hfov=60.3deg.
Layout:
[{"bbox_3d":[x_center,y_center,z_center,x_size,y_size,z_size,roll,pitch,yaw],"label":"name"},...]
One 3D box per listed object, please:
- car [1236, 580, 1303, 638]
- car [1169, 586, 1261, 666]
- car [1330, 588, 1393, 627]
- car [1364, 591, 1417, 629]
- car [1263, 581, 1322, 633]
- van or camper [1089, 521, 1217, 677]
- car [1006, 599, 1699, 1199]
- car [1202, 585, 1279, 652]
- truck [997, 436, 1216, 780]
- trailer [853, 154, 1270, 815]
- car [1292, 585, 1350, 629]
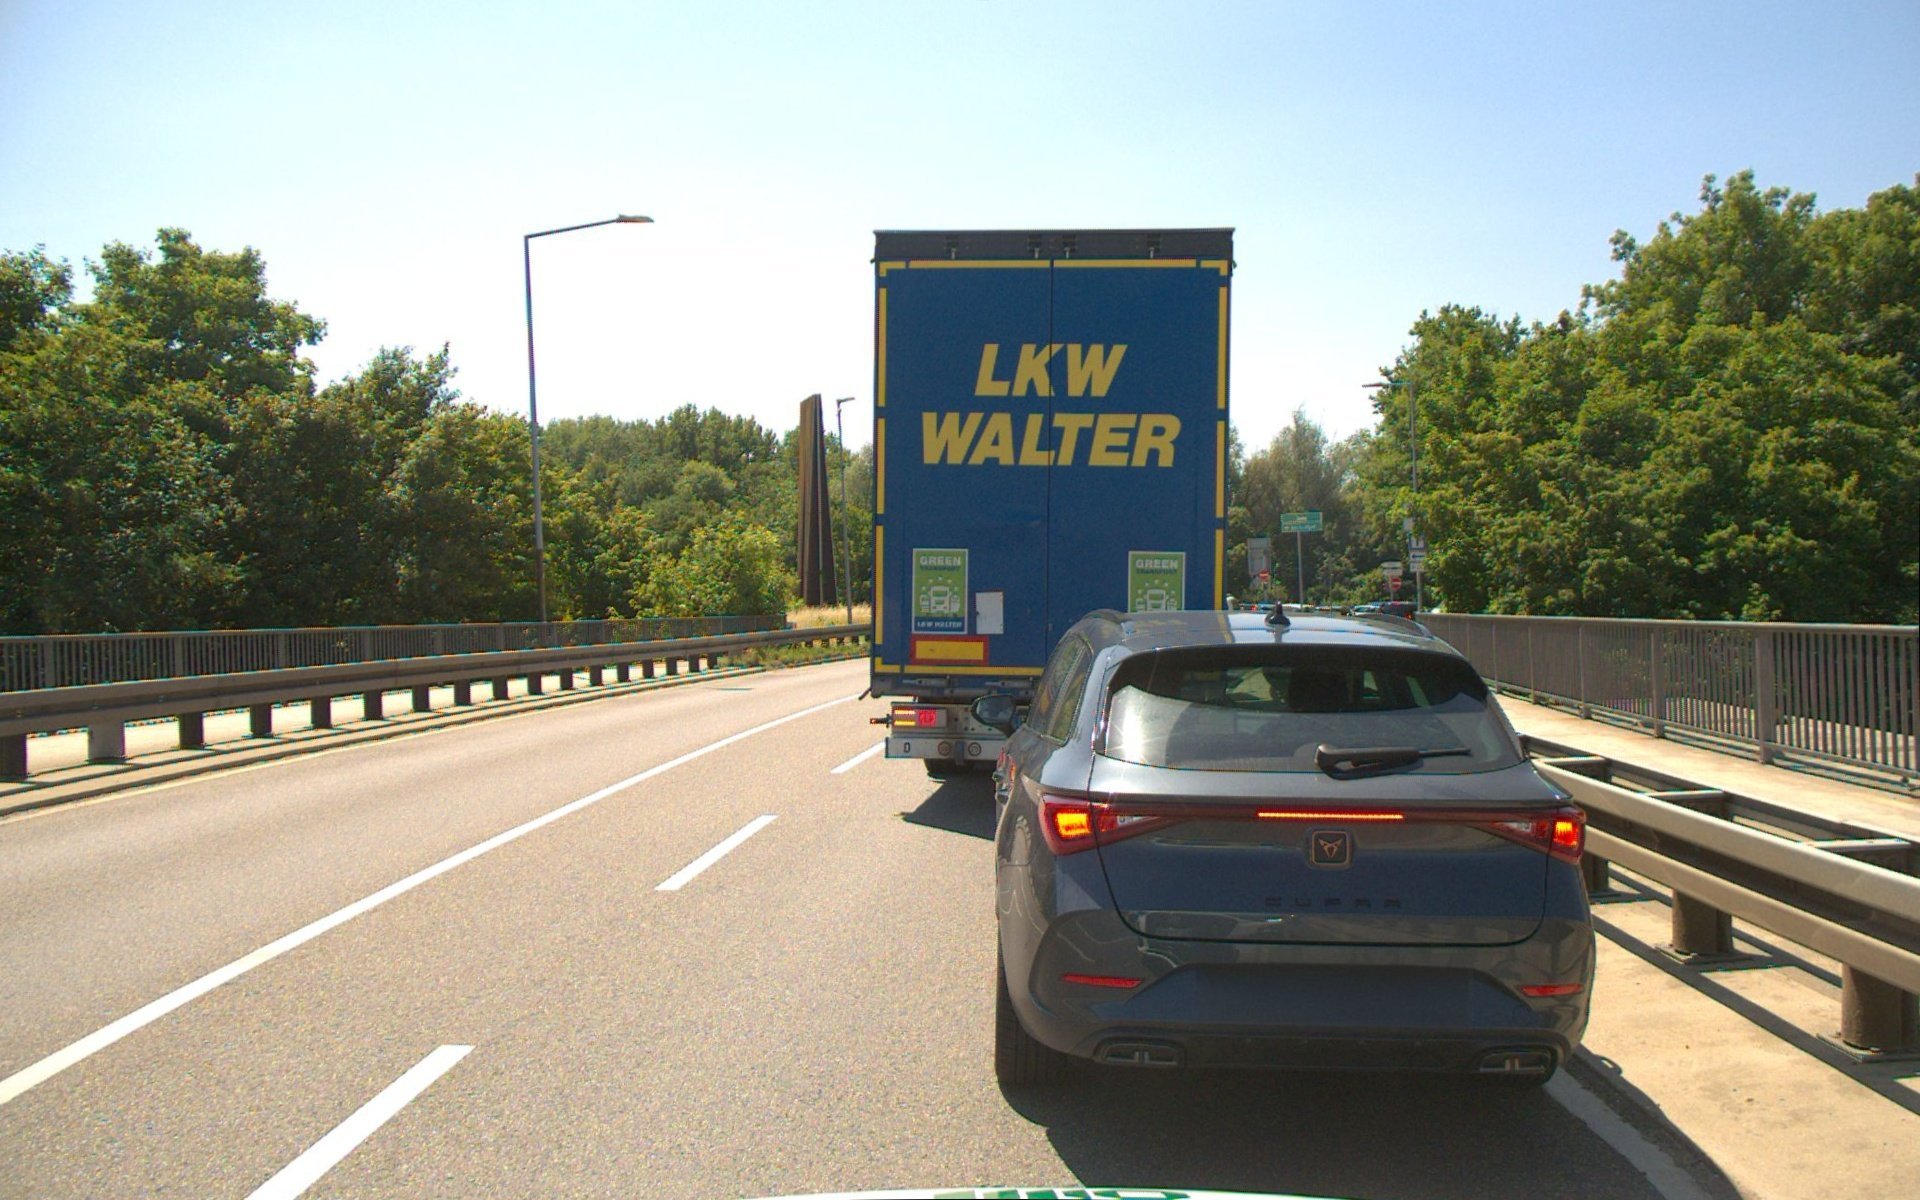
[{"bbox_3d":[10.338,0.276,55.107,1.685,1.876,4.002,0,0,18],"label":"car"},{"bbox_3d":[6.374,0.589,41.063,1.684,1.876,4.002,0,1,17],"label":"car"},{"bbox_3d":[18.162,0.361,74.672,1.954,1.603,3.996,2,-1,26],"label":"car"},{"bbox_3d":[21.016,0.494,80.653,1.653,1.791,3.995,0,-1,28],"label":"car"},{"bbox_3d":[12.436,0.232,61.666,1.685,1.876,4.002,0,0,18],"label":"car"},{"bbox_3d":[4.037,-0.033,33.655,2.108,2.865,6.393,0,0,11],"label":"van or camper"},{"bbox_3d":[0.990,0.739,5.930,1.642,1.481,3.959,0,0,1],"label":"car"},{"bbox_3d":[8.079,0.489,47.407,1.684,1.834,4.002,0,0,17],"label":"car"},{"bbox_3d":[2.315,0.078,25.062,2.843,4.496,6.560,0,0,7],"label":"truck"},{"bbox_3d":[1.418,-0.820,17.572,2.843,4.496,12.442,0,0,7],"label":"trailer"},{"bbox_3d":[14.948,0.304,68.353,1.651,1.791,3.999,0,-1,22],"label":"car"}]
